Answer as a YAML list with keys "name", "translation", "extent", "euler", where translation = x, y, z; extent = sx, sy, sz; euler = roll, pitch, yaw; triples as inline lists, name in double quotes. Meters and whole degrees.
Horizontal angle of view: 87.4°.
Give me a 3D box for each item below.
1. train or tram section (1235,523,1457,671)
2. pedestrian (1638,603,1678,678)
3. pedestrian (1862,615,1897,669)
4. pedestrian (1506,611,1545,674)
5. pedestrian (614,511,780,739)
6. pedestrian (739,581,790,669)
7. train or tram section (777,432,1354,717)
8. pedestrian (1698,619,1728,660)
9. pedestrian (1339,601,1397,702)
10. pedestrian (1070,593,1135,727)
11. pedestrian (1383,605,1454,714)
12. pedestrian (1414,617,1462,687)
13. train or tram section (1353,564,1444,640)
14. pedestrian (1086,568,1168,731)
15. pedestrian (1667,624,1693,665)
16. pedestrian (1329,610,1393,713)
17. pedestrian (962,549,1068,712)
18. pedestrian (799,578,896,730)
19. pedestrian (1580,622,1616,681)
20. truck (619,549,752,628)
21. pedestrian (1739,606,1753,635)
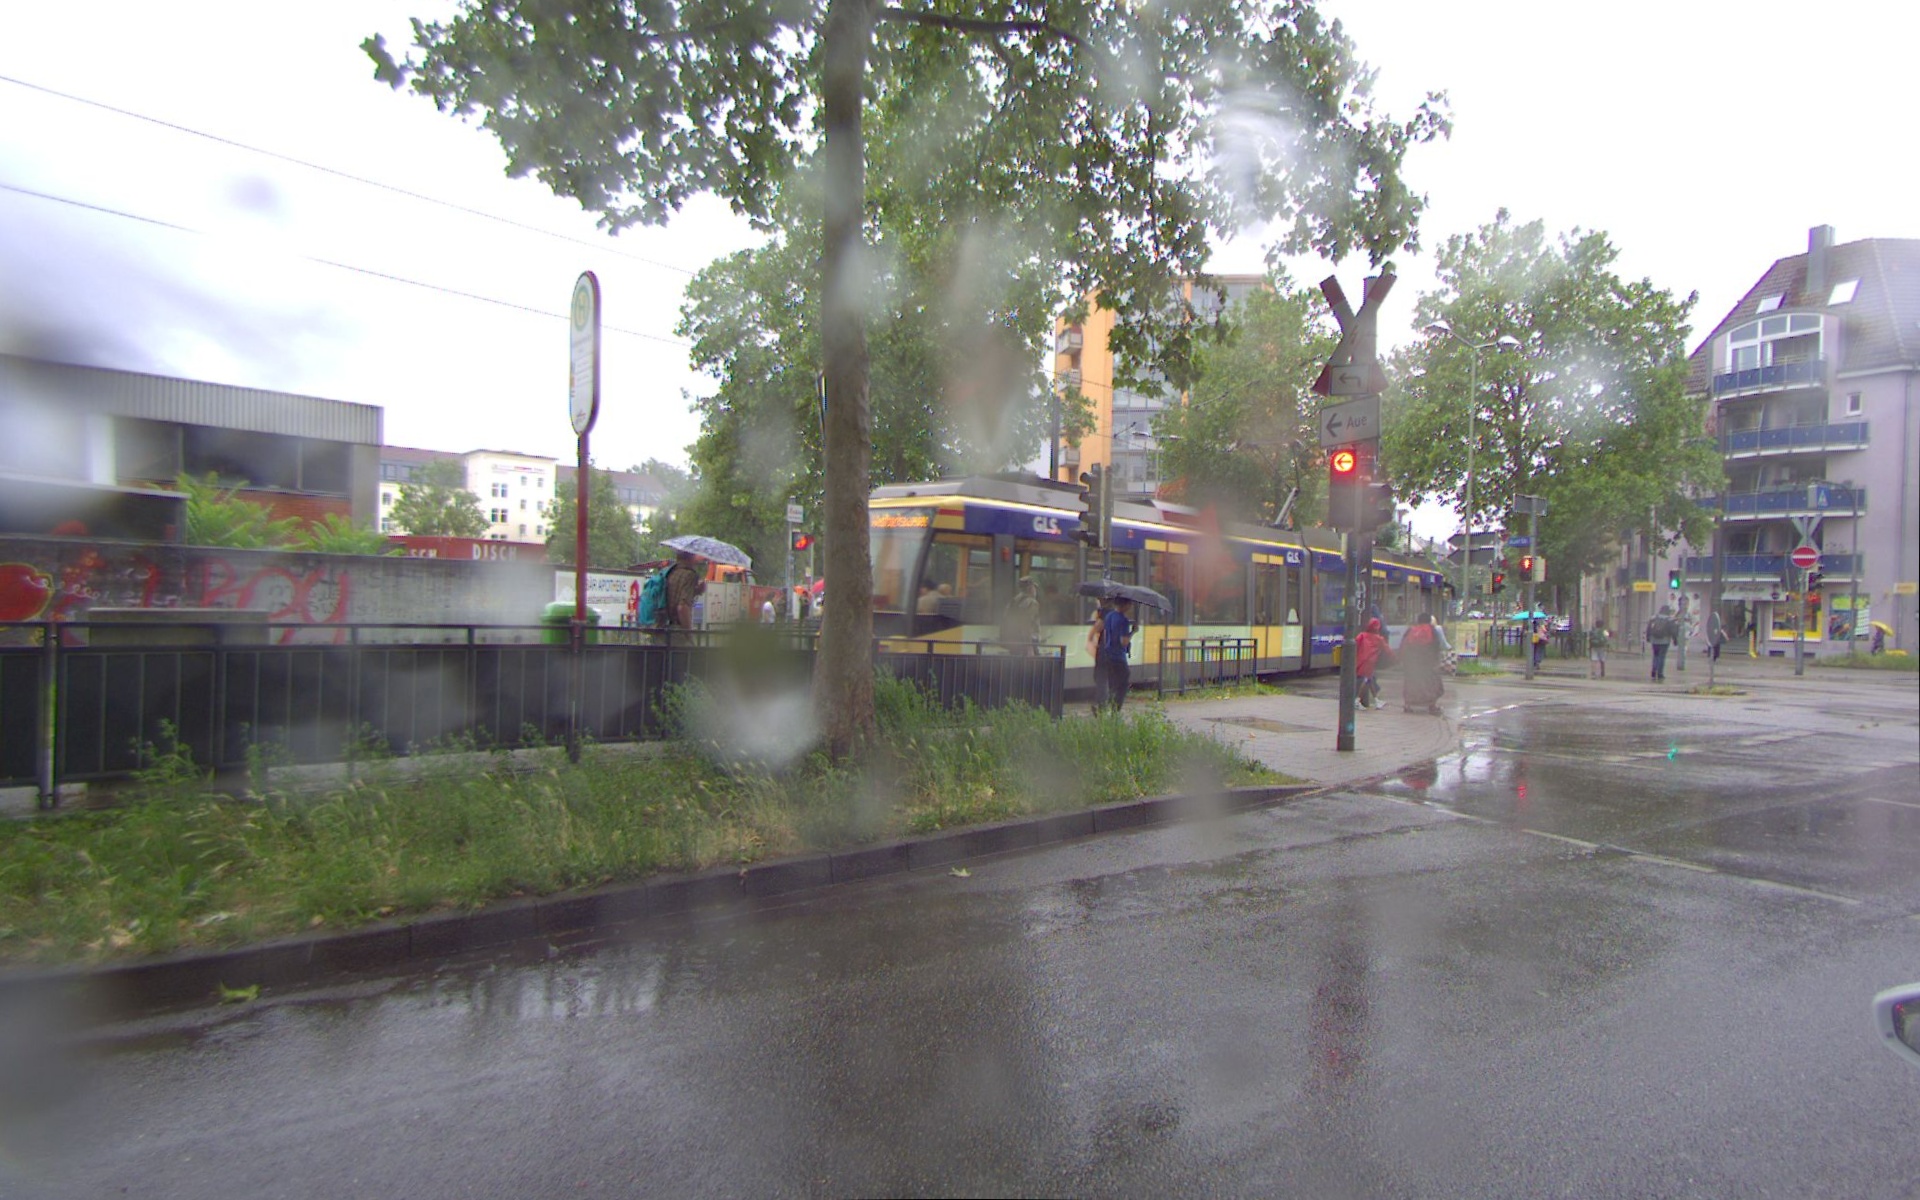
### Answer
- name: "train or tram section"
  translation: [12.315, 0.000, 30.708]
  extent: [2.823, 3.593, 13.667]
  euler: [2, 0, 36]
- name: "pedestrian"
  translation: [17.846, 1.019, 25.667]
  extent: [0.777, 1.880, 0.679]
  euler: [2, 1, 37]
- name: "pedestrian"
  translation: [37.597, 1.709, 41.097]
  extent: [0.896, 2.179, 0.884]
  euler: [2, 0, 35]
- name: "pedestrian"
  translation: [16.620, 1.226, 29.530]
  extent: [0.943, 1.789, 0.951]
  euler: [2, 0, 31]
- name: "pedestrian"
  translation: [-2.329, 0.207, 8.889]
  extent: [1.068, 1.851, 0.974]
  euler: [-1, 0, -41]
- name: "pedestrian"
  translation: [-3.998, 0.505, 20.533]
  extent: [0.675, 1.752, 0.752]
  euler: [2, 1, 42]
- name: "train or tram section"
  translation: [3.422, -0.217, 19.410]
  extent: [2.827, 3.593, 15.296]
  euler: [2, 0, 41]
- name: "pedestrian"
  translation: [29.281, 1.540, 39.073]
  extent: [0.738, 1.553, 0.791]
  euler: [2, 0, 26]
- name: "pedestrian"
  translation: [7.152, 0.892, 17.637]
  extent: [0.823, 1.721, 0.689]
  euler: [-2, 0, 17]
- name: "pedestrian"
  translation: [1.876, 0.780, 13.218]
  extent: [0.782, 1.705, 0.660]
  euler: [-2, 0, 8]
- name: "pedestrian"
  translation: [7.171, 0.907, 15.709]
  extent: [0.809, 1.646, 0.724]
  euler: [0, 0, -37]
- name: "pedestrian"
  translation: [9.697, 1.032, 20.384]
  extent: [0.704, 1.367, 0.650]
  euler: [1, 1, -44]
- name: "train or tram section"
  translation: [25.956, 0.232, 58.731]
  extent: [2.839, 3.818, 17.211]
  euler: [2, 0, 30]
- name: "pedestrian"
  translation: [2.046, 0.573, 12.210]
  extent: [0.854, 1.889, 0.892]
  euler: [1, 0, 16]
- name: "pedestrian"
  translation: [29.018, 1.780, 40.473]
  extent: [0.666, 1.622, 0.962]
  euler: [2, 0, 45]
- name: "pedestrian"
  translation: [6.245, 0.936, 15.650]
  extent: [0.653, 1.540, 0.677]
  euler: [1, 0, -37]
- name: "pedestrian"
  translation: [0.633, 0.335, 11.564]
  extent: [0.824, 1.778, 0.857]
  euler: [1, 1, -41]
- name: "pedestrian"
  translation: [-1.221, 0.573, 10.922]
  extent: [0.783, 1.593, 0.659]
  euler: [-2, 0, 24]
- name: "pedestrian"
  translation: [15.962, 1.274, 25.130]
  extent: [0.638, 1.414, 0.782]
  euler: [1, 0, 26]
- name: "truck"
  translation: [-11.858, -0.463, 43.613]
  extent: [5.383, 3.205, 2.164]
  euler: [2, 0, -16]
- name: "pedestrian"
  translation: [36.863, 0.945, 47.128]
  extent: [0.439, 1.347, 0.558]
  euler: [2, 0, 43]
